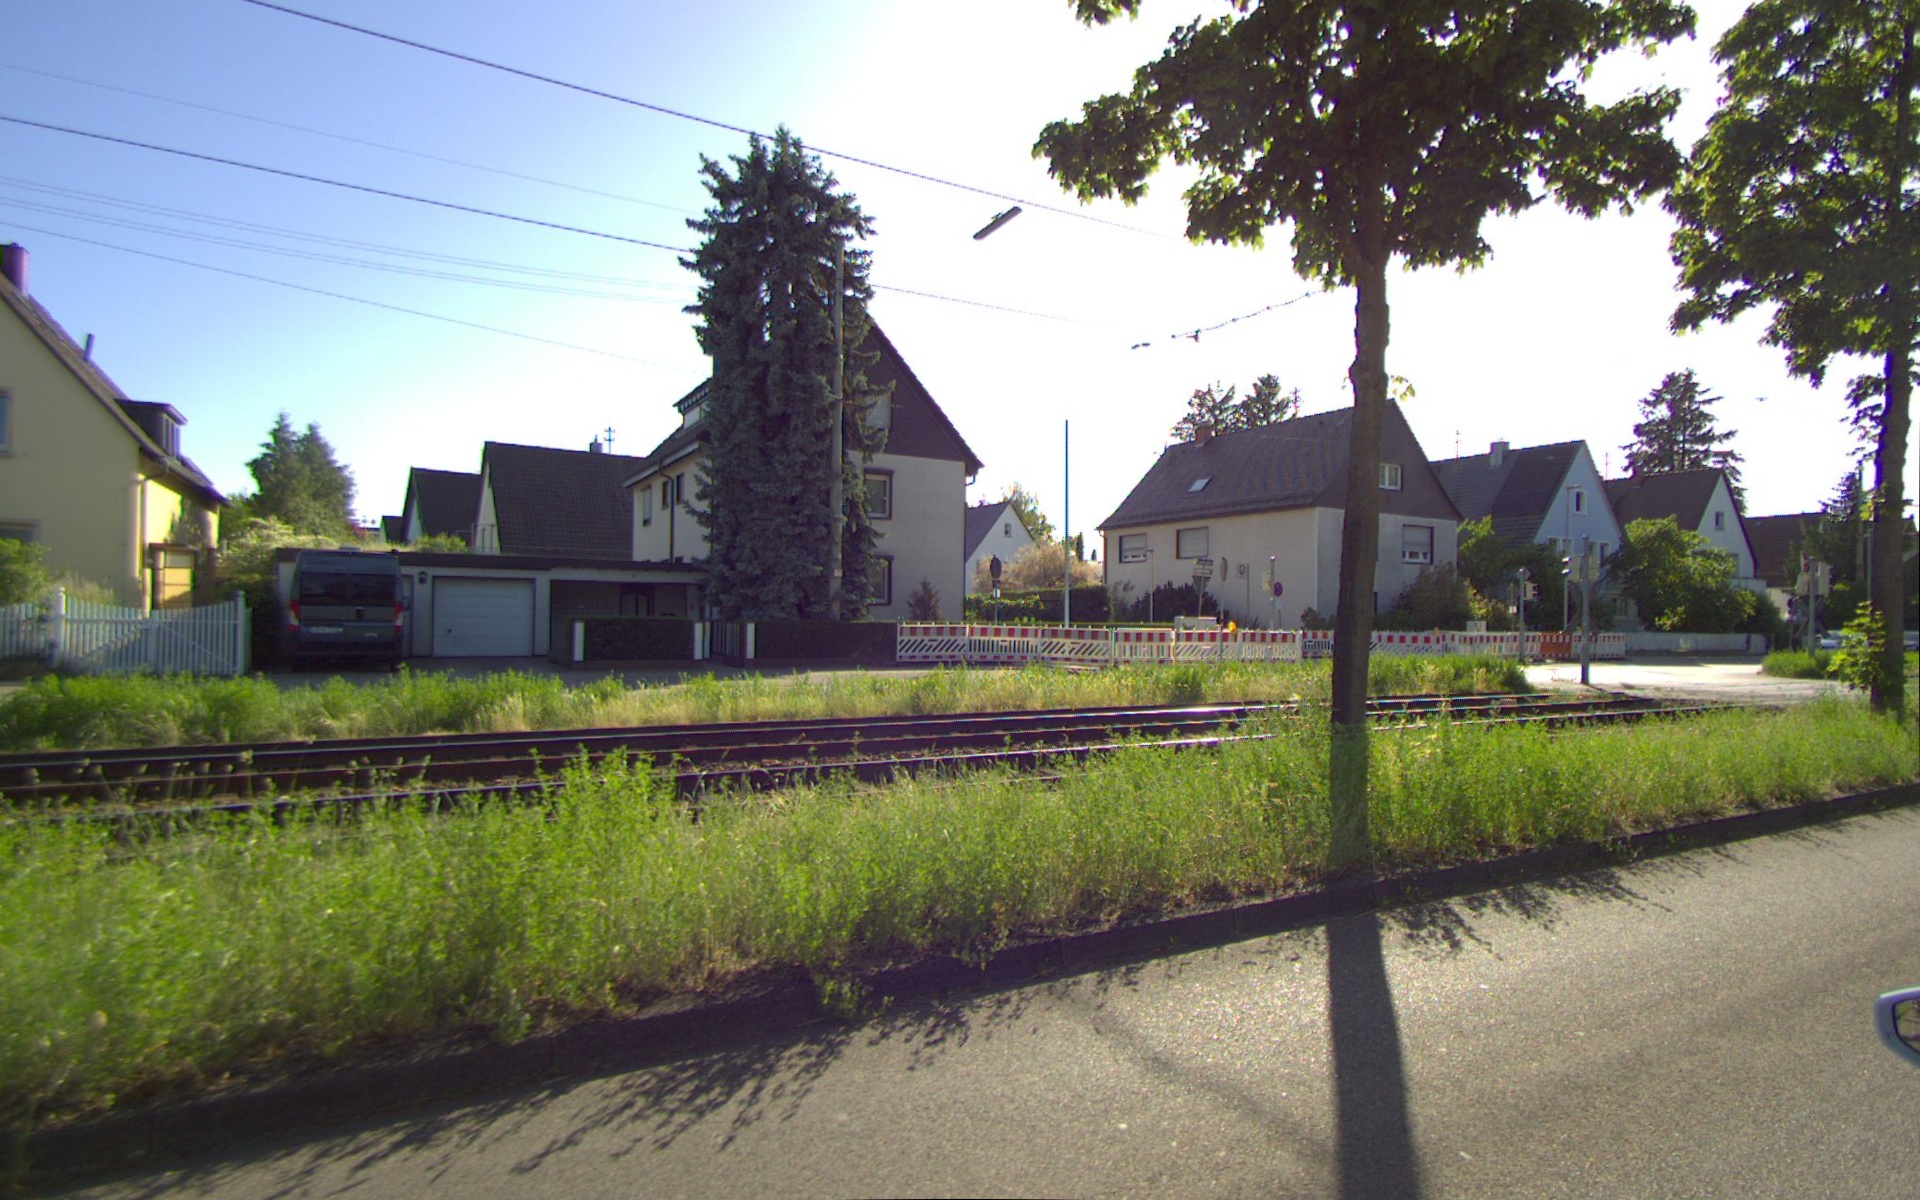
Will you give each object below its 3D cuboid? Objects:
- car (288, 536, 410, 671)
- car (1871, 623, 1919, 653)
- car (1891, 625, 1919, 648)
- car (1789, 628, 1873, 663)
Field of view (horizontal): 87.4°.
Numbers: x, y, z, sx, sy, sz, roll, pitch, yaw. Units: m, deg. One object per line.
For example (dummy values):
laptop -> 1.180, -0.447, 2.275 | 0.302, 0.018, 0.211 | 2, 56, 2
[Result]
car -> -13.552, 0.081, 22.515 | 2.077, 2.660, 5.006 | 1, 0, -29
car -> 50.320, 2.009, 53.250 | 4.549, 1.485, 1.720 | 2, 1, -31
car -> 68.920, 2.644, 71.194 | 1.866, 1.472, 3.900 | 0, 2, -29
car -> 42.519, 2.193, 48.997 | 4.179, 1.562, 1.850 | 2, 1, -31
